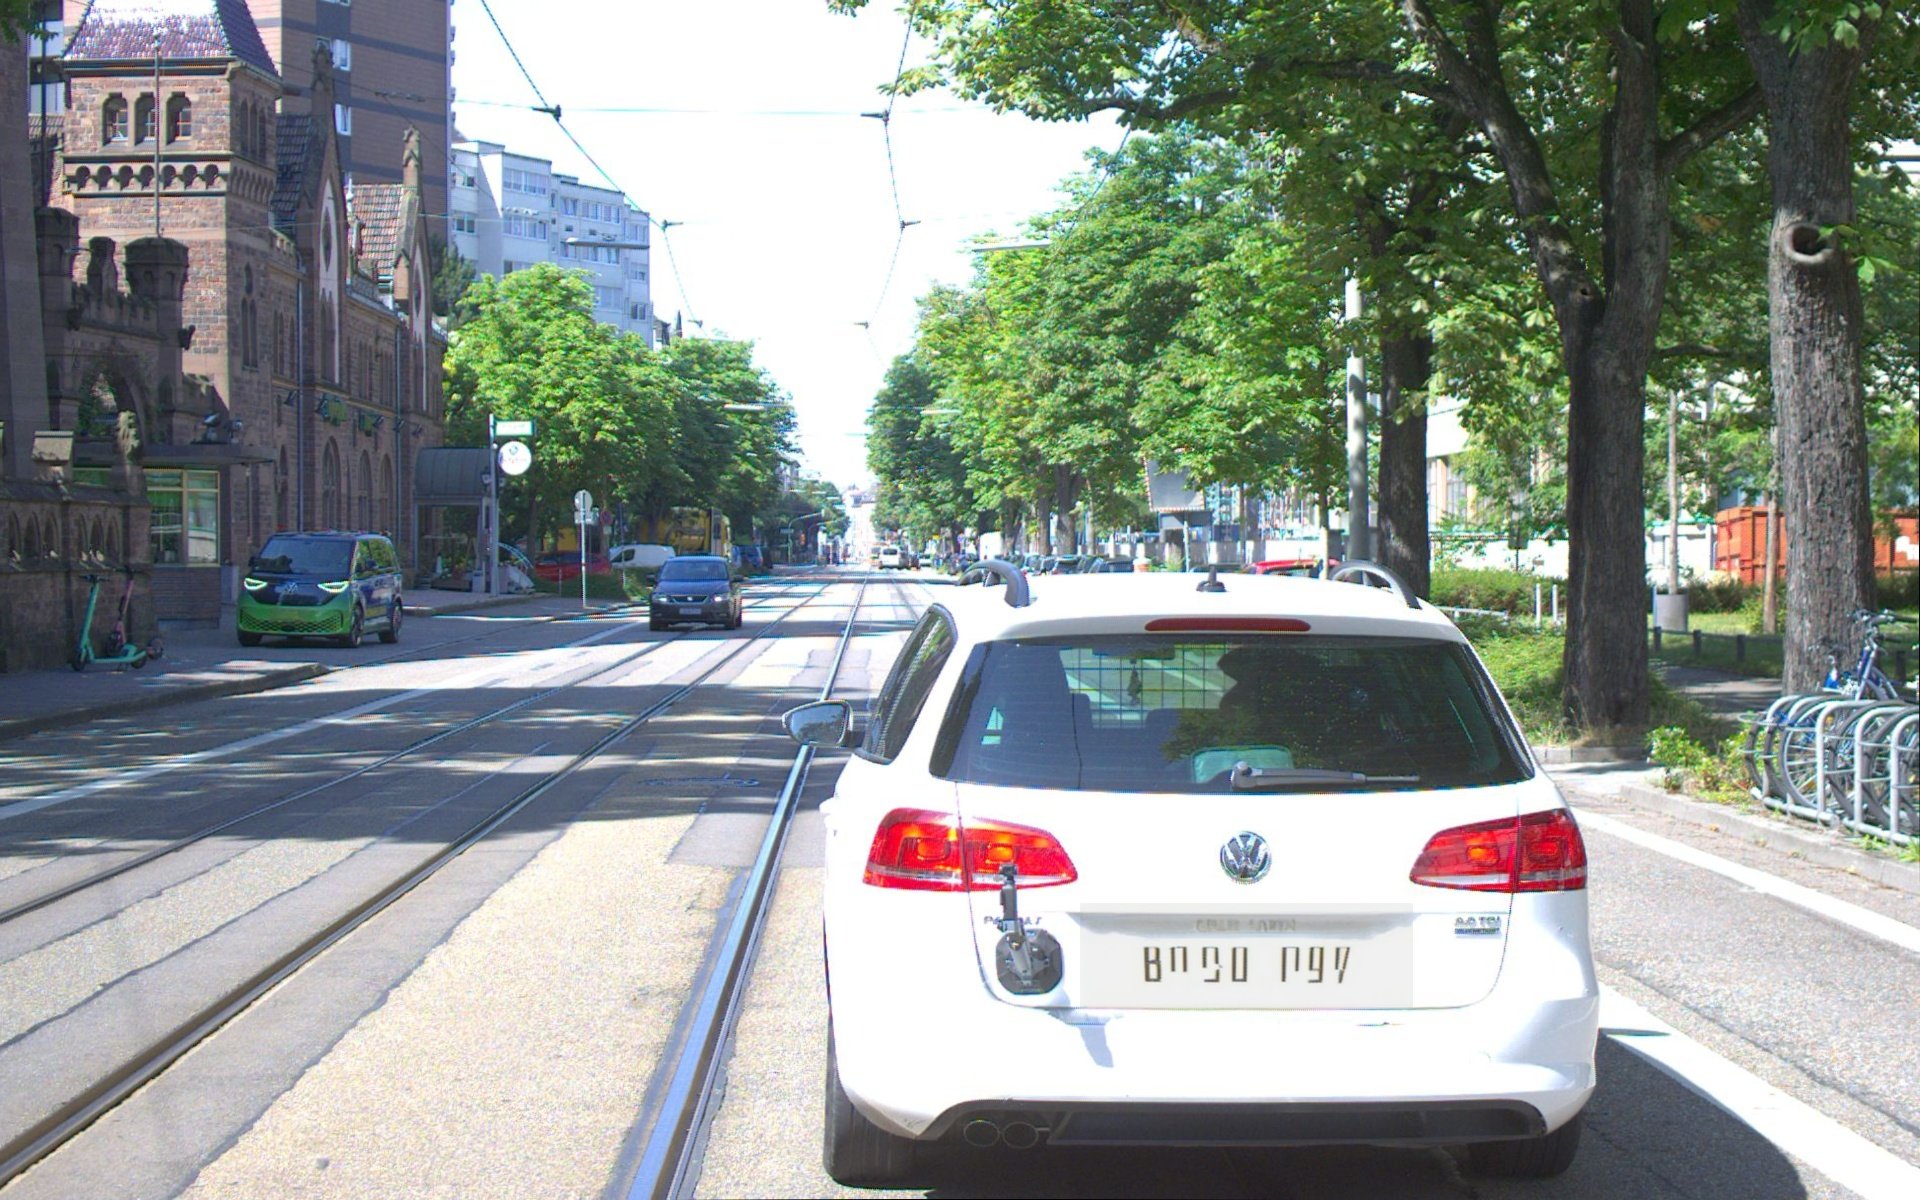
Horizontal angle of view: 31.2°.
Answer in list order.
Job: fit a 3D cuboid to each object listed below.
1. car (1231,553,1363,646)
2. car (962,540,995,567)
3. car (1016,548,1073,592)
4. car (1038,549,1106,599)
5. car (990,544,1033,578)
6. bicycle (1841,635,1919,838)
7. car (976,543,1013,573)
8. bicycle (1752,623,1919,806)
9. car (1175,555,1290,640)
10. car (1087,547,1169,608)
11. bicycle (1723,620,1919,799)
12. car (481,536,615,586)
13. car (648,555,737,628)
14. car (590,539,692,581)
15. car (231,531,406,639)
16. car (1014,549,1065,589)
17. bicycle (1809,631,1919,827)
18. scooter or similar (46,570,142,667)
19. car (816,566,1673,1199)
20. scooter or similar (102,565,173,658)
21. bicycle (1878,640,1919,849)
[{"bbox_3d":[4.855,-0.030,49.882,1.713,1.276,3.843,0,1,3],"label":"car"},{"bbox_3d":[0.980,-2.522,186.103,1.713,1.396,3.843,0,1,0],"label":"car"},{"bbox_3d":[2.751,-0.978,112.295,1.713,1.396,3.843,0,1,0],"label":"car"},{"bbox_3d":[3.206,-0.768,99.194,1.713,1.396,3.843,0,1,-2],"label":"car"},{"bbox_3d":[2.165,-1.661,144.514,1.713,1.396,3.843,0,1,0],"label":"car"},{"bbox_3d":[5.486,0.688,17.681,1.787,1.007,0.488,0,1,-6],"label":"bicycle"},{"bbox_3d":[1.650,-2.033,164.988,1.713,1.396,3.843,0,1,0],"label":"car"},{"bbox_3d":[5.454,0.640,19.546,1.787,1.007,0.488,0,1,-6],"label":"bicycle"},{"bbox_3d":[4.690,-0.061,59.601,1.713,1.396,3.843,0,1,1],"label":"car"},{"bbox_3d":[3.947,-0.543,81.356,1.713,1.396,3.843,0,1,0],"label":"car"},{"bbox_3d":[5.403,0.627,20.065,1.787,1.007,0.488,0,1,-6],"label":"bicycle"},{"bbox_3d":[-14.048,-1.333,117.171,4.116,1.525,1.933,1,1,-22],"label":"car"},{"bbox_3d":[-5.256,-0.189,67.954,1.493,1.380,3.643,0,1,0],"label":"car"},{"bbox_3d":[-13.944,-1.757,150.267,3.988,1.809,2.000,-1,1,-37],"label":"car"},{"bbox_3d":[-10.814,-0.287,58.244,1.993,1.751,4.712,0,1,1],"label":"car"},{"bbox_3d":[2.869,-1.143,124.769,1.713,1.396,3.843,0,1,0],"label":"car"},{"bbox_3d":[5.467,0.672,18.268,1.787,1.007,0.488,0,1,-6],"label":"bicycle"},{"bbox_3d":[-10.466,0.217,41.569,0.405,1.151,1.141,0,1,33],"label":"scooter or similar"},{"bbox_3d":[0.495,0.653,9.218,1.753,1.437,4.413,0,0,-2],"label":"car"},{"bbox_3d":[-10.805,0.143,45.169,0.423,1.196,1.142,0,1,14],"label":"scooter or similar"},{"bbox_3d":[5.525,0.702,17.105,1.787,1.007,0.488,0,1,-6],"label":"bicycle"}]
